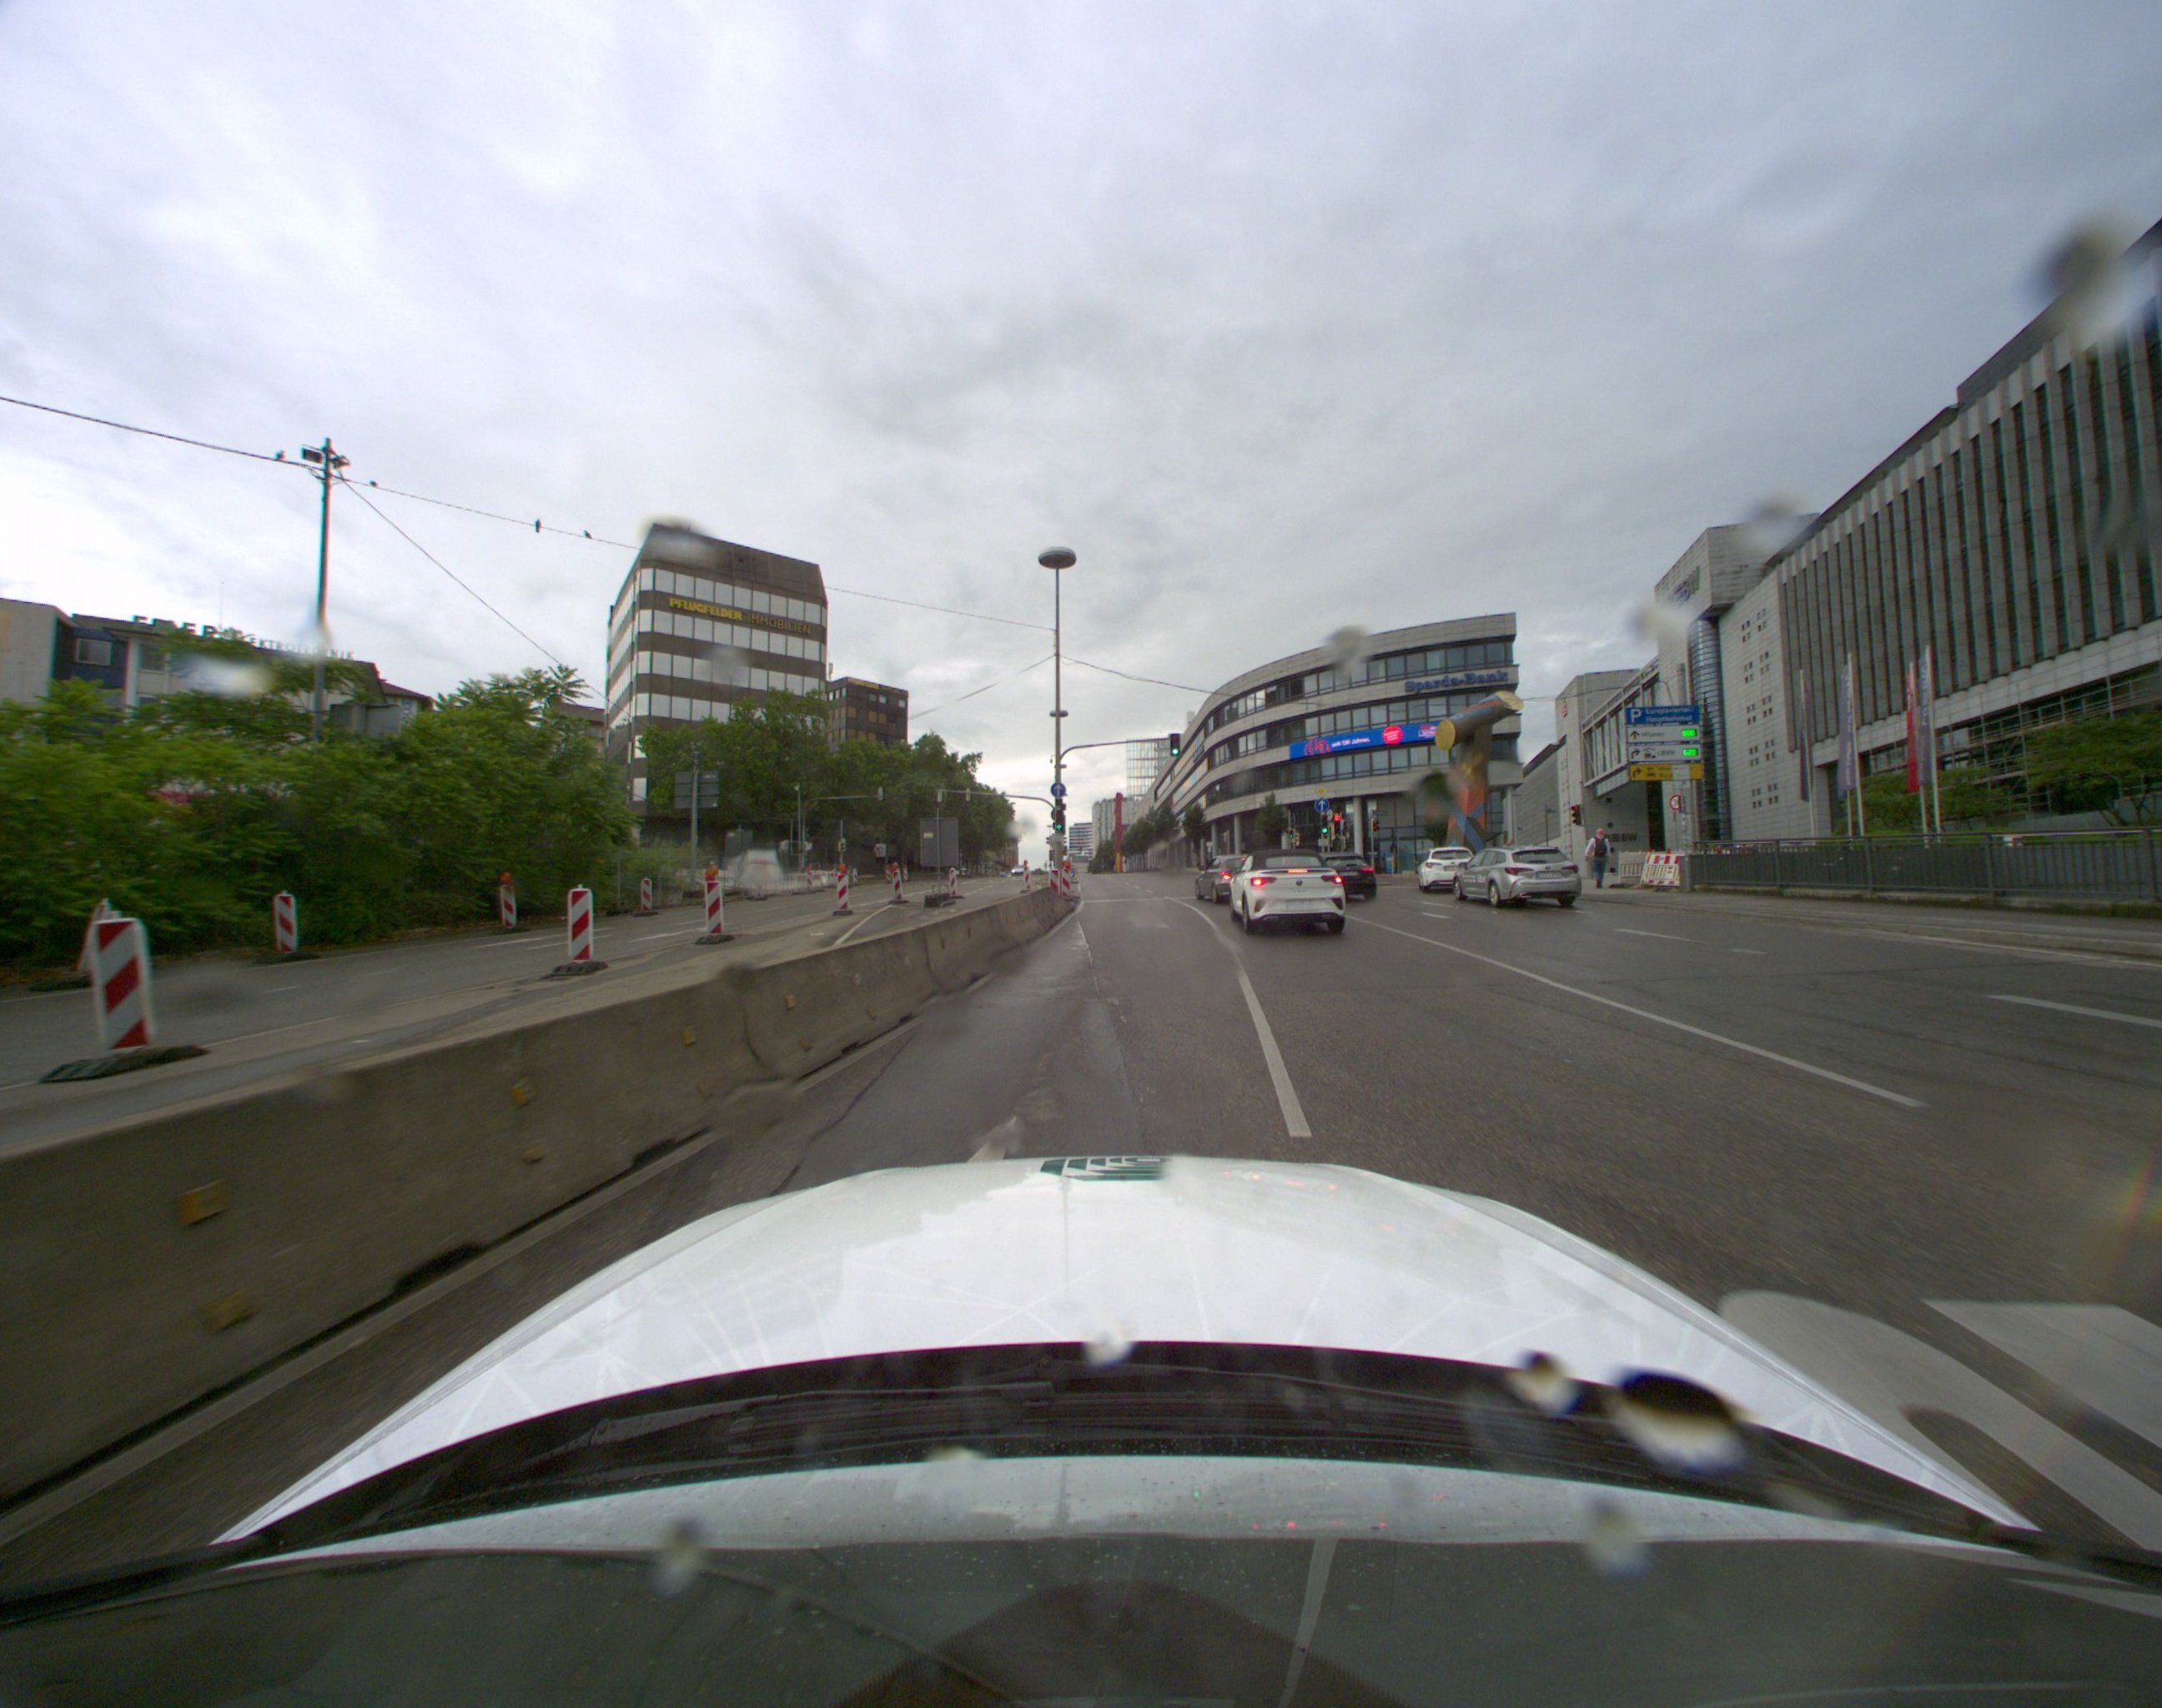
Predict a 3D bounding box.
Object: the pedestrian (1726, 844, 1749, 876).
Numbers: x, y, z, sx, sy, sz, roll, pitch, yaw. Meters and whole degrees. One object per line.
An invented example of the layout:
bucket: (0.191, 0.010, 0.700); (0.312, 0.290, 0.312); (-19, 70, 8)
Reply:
pedestrian: (37.984, 0.343, 47.130); (0.958, 1.818, 0.785); (-3, -4, 40)

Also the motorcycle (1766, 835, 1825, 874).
motorcycle: (26.179, 0.013, 29.856); (1.723, 1.354, 0.605); (-2, -1, -8)

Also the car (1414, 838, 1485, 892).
car: (12.258, 0.351, 27.319); (1.756, 1.634, 4.603); (-1, -1, 20)

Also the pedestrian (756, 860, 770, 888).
pedestrian: (-21.936, 1.369, 56.216); (0.740, 1.880, 0.744); (0, -3, -10)

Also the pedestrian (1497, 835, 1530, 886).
pedestrian: (18.251, 0.269, 34.349); (0.856, 2.099, 0.897); (1, -1, -24)

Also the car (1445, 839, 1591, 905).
car: (10.731, 0.455, 20.403); (1.691, 1.451, 4.625); (-1, -1, 7)

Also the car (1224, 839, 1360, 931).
car: (4.021, 0.554, 16.216); (1.954, 1.549, 4.225); (-1, 0, 5)

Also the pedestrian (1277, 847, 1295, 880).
pedestrian: (12.351, 0.586, 49.077); (0.833, 1.905, 0.866); (-2, -3, 25)

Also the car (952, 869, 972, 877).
car: (-26.614, 4.268, 182.270); (1.801, 1.511, 4.607); (-5, -3, 37)

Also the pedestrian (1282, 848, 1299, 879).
pedestrian: (12.820, 0.586, 49.929); (0.833, 1.905, 0.736); (-2, -2, 25)

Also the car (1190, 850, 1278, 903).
car: (4.565, 0.657, 24.904); (1.736, 1.443, 3.995); (-1, -1, -3)

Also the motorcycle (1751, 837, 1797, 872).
motorcycle: (26.018, 0.012, 30.575); (1.240, 1.270, 0.618); (-2, -1, -8)

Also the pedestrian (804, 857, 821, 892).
pedestrian: (-14.443, 1.113, 43.832); (0.669, 1.902, 0.776); (-1, -3, 2)

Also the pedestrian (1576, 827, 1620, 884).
pedestrian: (15.694, 0.058, 24.741); (0.727, 1.711, 0.842); (-1, -3, -1)

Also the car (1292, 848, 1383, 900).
car: (7.561, 0.592, 24.411); (1.746, 1.407, 4.233); (0, -2, 5)

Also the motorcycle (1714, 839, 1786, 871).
motorcycle: (26.793, 0.029, 32.613); (2.562, 1.081, 0.633); (-4, 0, -8)

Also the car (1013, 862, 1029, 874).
car: (-7.713, 1.771, 105.295); (1.756, 1.460, 4.357); (-2, 0, -1)

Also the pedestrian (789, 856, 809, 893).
pedestrian: (-15.174, 1.114, 43.832); (0.758, 1.923, 0.742); (-1, -3, 2)
